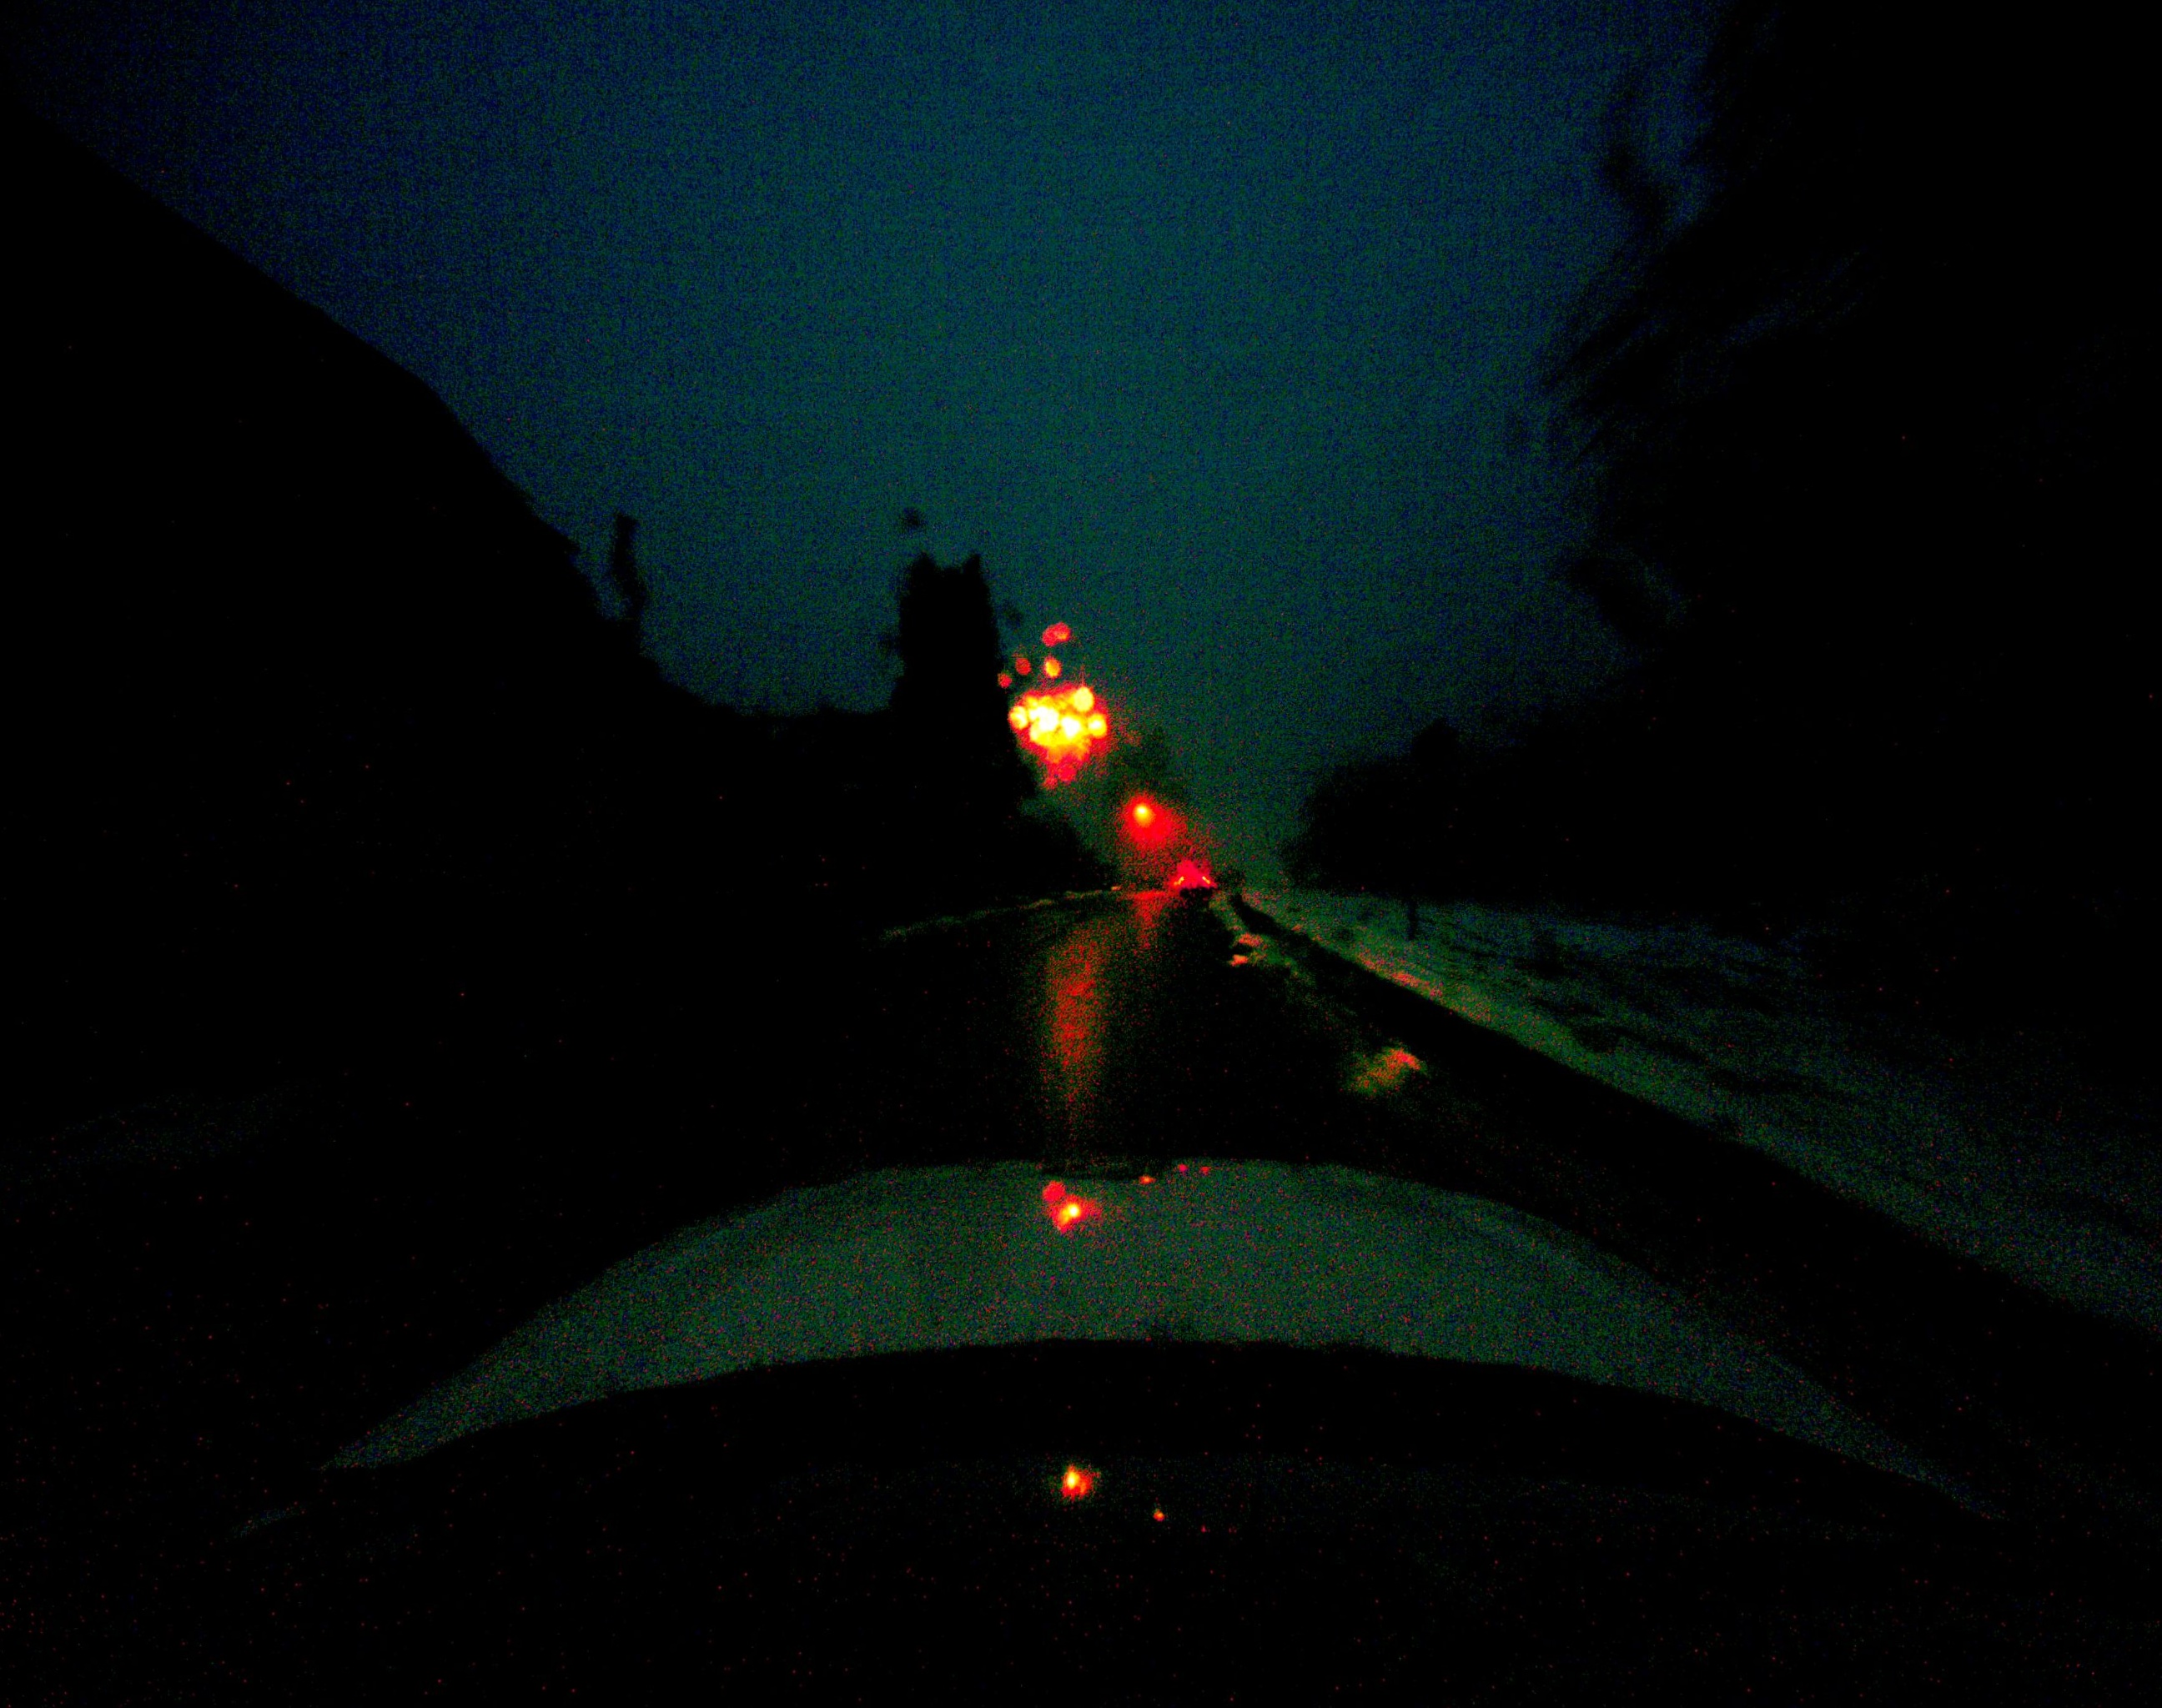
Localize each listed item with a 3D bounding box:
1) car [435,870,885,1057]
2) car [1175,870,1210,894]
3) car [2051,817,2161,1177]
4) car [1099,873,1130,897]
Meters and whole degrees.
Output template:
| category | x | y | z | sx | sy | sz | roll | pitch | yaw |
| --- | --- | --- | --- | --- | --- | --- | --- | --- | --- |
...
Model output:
| category | x | y | z | sx | sy | sz | roll | pitch | yaw |
| --- | --- | --- | --- | --- | --- | --- | --- | --- | --- |
| car | -4.042 | 0.919 | 9.214 | 1.868 | 1.426 | 5.399 | 0 | -1 | 5 |
| car | 6.892 | 1.724 | 50.015 | 1.982 | 1.420 | 4.009 | -1 | -2 | 9 |
| car | 6.304 | 0.670 | 2.295 | 4.428 | 1.382 | 2.039 | 3 | 0 | 5 |
| car | 2.524 | 2.408 | 61.915 | 1.988 | 1.566 | 4.993 | -4 | -4 | -1 |
